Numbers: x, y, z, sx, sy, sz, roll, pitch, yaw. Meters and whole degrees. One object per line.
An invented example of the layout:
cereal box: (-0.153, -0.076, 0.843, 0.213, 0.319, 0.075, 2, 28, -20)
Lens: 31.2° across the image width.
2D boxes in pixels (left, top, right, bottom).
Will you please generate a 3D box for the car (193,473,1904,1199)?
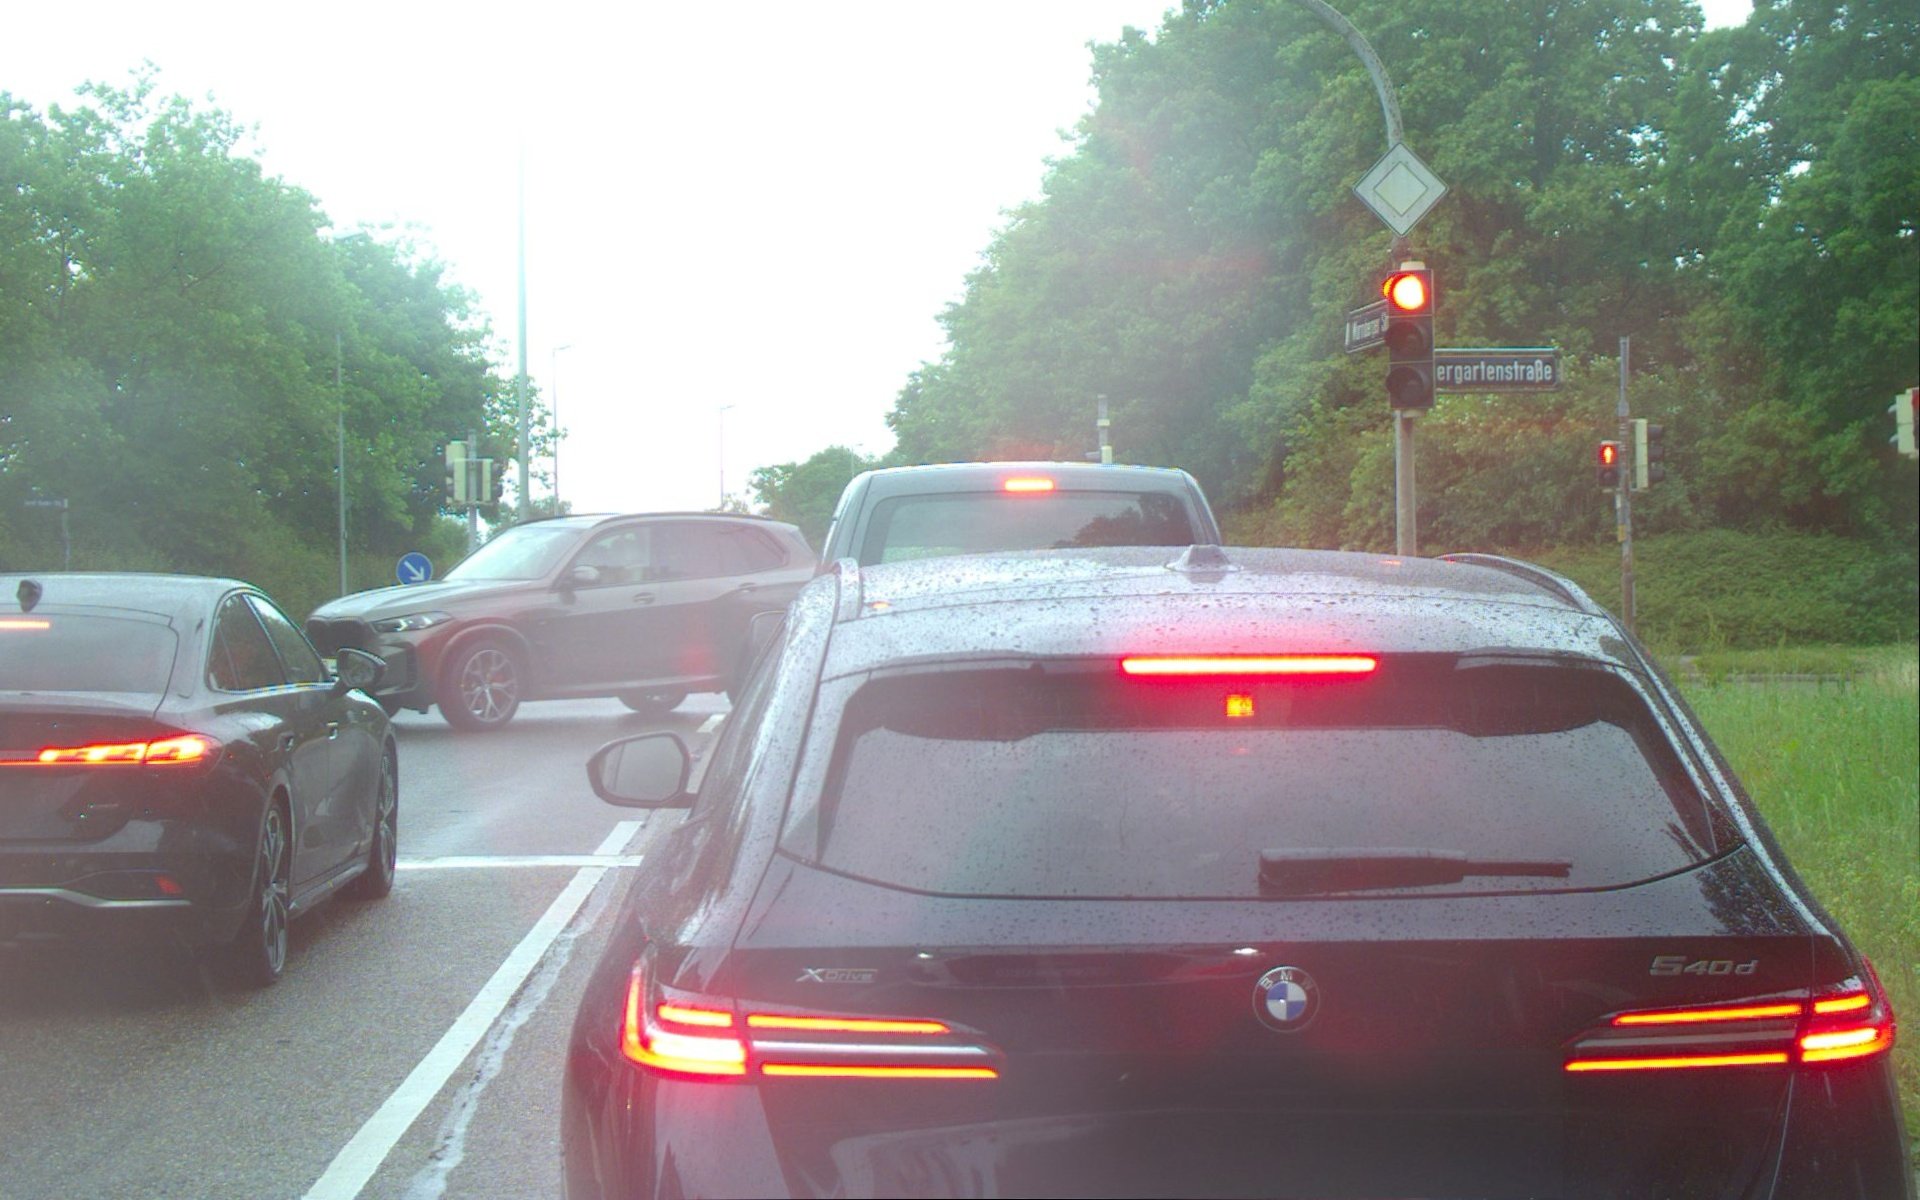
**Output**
car: (0.202, 0.643, 6.128, 1.898, 1.546, 4.614, 0, 0, 3)

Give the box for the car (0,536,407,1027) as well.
car: (-3.377, 0.587, 13.020, 1.993, 1.522, 4.328, -2, 0, -3)

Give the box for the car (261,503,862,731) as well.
car: (-3.311, 0.098, 29.165, 4.704, 1.711, 1.999, -2, 1, -41)

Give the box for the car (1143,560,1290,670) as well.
car: (3.869, 0.209, 52.414, 1.873, 1.537, 3.952, -2, 0, 0)

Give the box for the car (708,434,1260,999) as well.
car: (0.075, 0.371, 13.346, 1.818, 1.862, 3.952, 0, 0, 0)

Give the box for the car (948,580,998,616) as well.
car: (0.633, -0.103, 163.909, 1.994, 1.618, 3.952, -2, 0, 5)
